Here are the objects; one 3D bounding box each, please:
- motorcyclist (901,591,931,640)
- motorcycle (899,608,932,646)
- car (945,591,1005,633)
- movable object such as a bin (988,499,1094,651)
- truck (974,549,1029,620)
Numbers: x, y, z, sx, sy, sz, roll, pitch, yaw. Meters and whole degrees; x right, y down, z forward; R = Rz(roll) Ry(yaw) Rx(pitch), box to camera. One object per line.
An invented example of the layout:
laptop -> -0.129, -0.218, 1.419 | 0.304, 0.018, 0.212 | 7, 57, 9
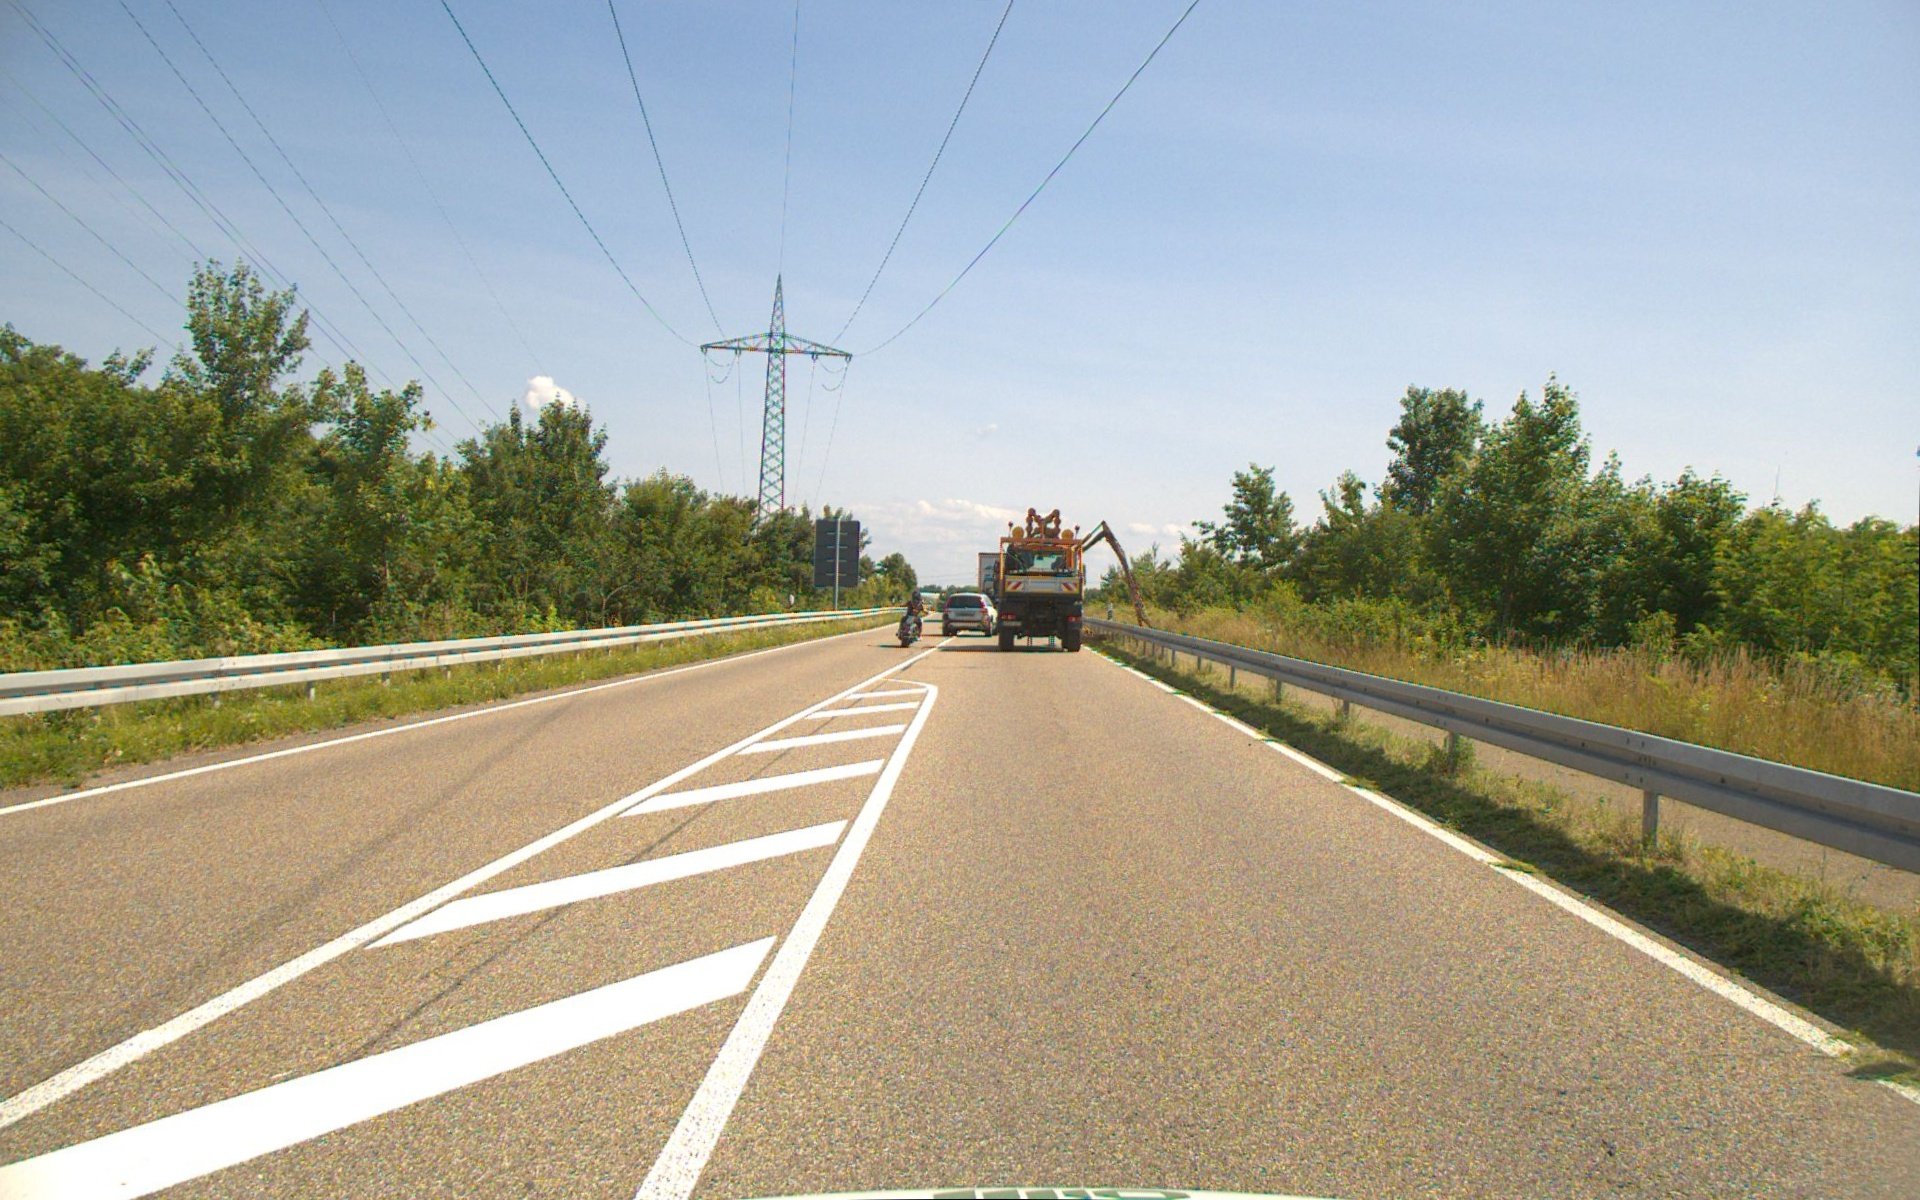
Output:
motorcyclist -> -1.218, 0.418, 45.982 | 0.764, 1.349, 0.813 | 1, 0, 2
motorcycle -> -1.234, 0.739, 45.967 | 0.764, 0.992, 2.362 | 1, 0, 2
car -> 0.590, 0.409, 61.054 | 1.787, 1.477, 4.003 | 1, 0, 6
movable object such as a bin -> 2.264, -0.686, 47.717 | 2.696, 3.906, 9.448 | 1, 0, 2
truck -> 2.557, -0.888, 101.451 | 3.174, 4.048, 9.445 | 1, 0, 2
